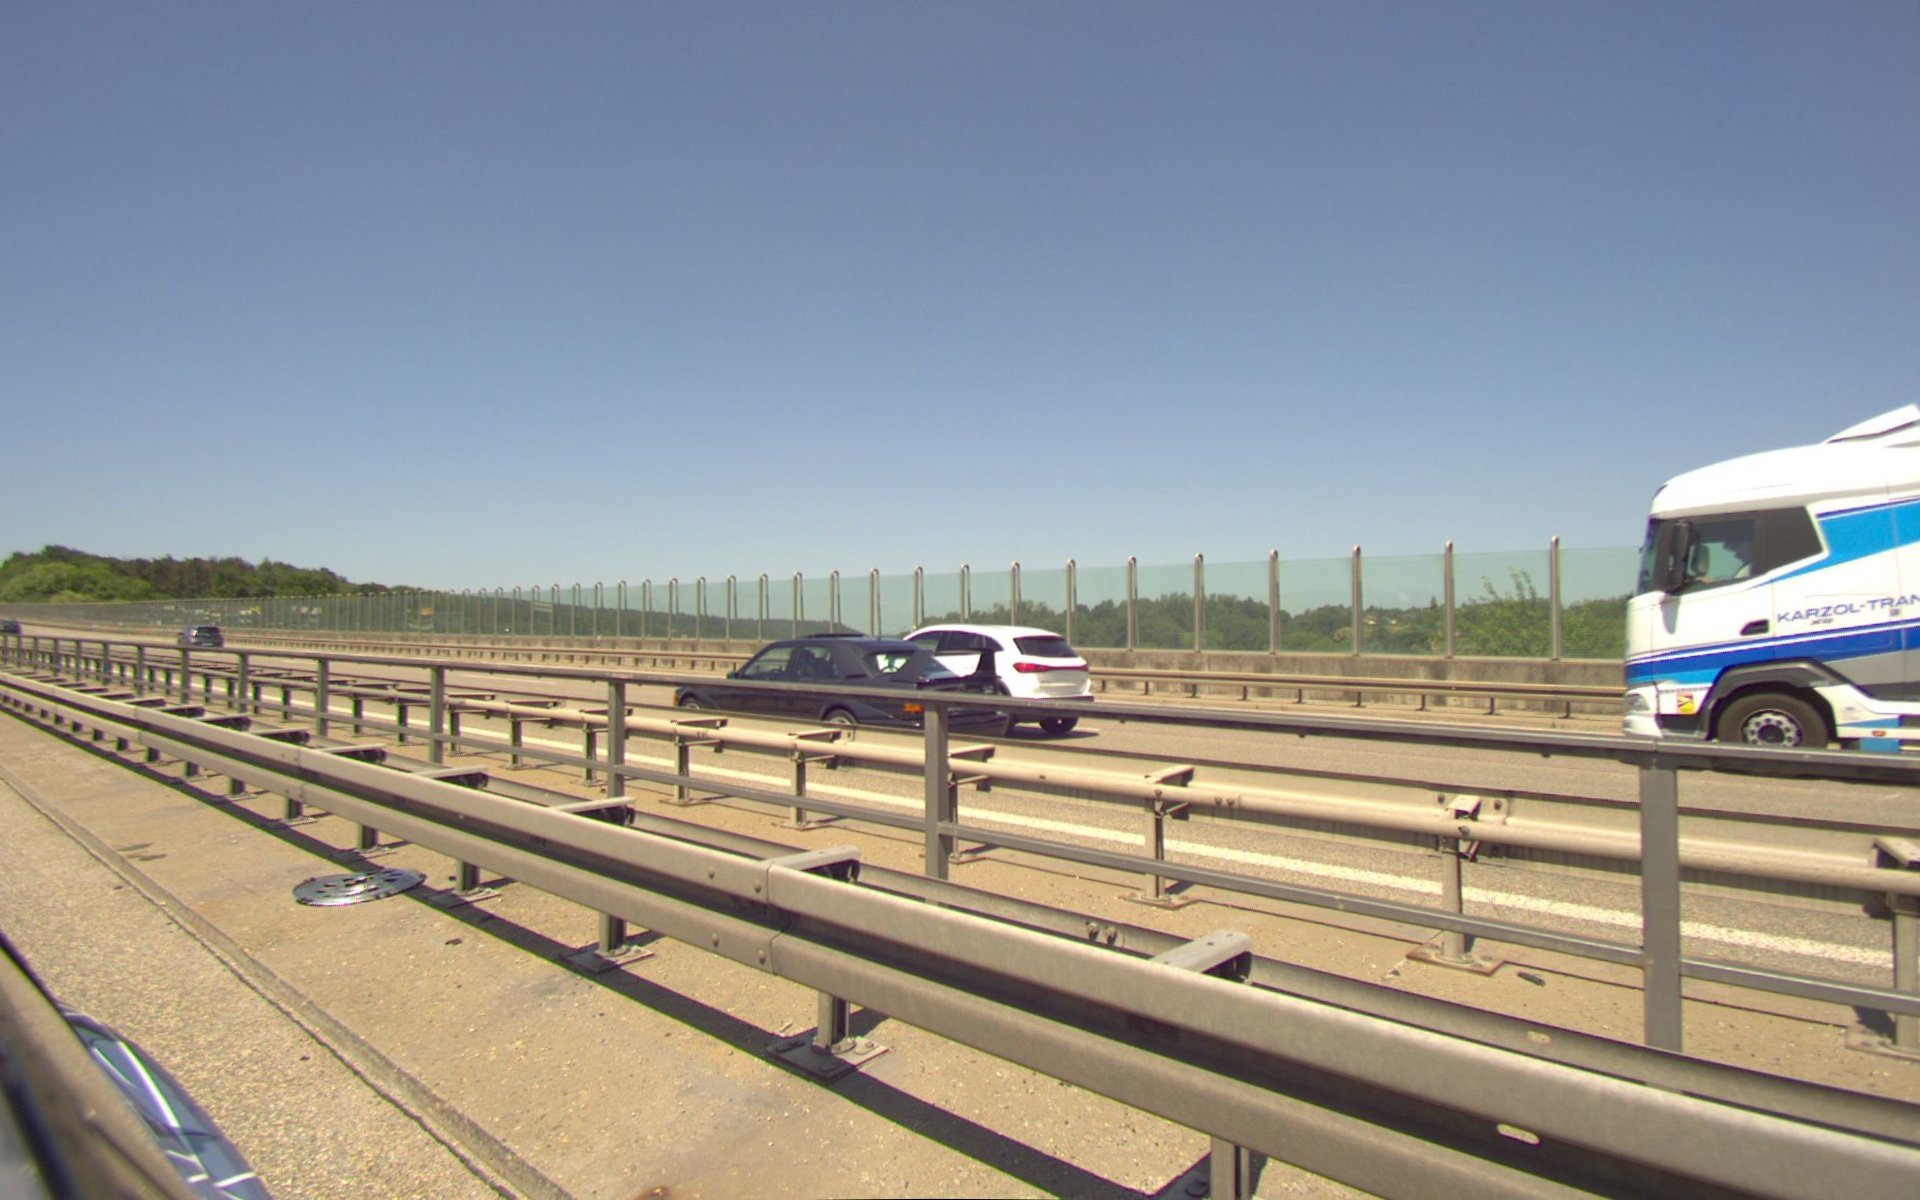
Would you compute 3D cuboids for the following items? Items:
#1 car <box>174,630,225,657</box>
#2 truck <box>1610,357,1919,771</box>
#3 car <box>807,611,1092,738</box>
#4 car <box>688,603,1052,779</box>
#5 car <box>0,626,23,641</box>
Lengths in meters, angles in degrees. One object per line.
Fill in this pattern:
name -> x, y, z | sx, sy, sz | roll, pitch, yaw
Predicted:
car -> -43.518, 2.481, 57.904 | 3.540, 1.473, 1.635 | -1, -2, 41
truck -> 10.922, -0.323, 12.089 | 4.855, 4.260, 3.965 | -1, -2, 40
car -> -0.267, 1.045, 15.714 | 4.383, 1.709, 1.731 | -1, -3, 41
car -> -1.115, 0.853, 11.276 | 3.998, 1.584, 1.773 | -1, 0, 41
car -> -89.244, 3.144, 94.707 | 4.268, 1.330, 1.742 | -1, -3, 41
